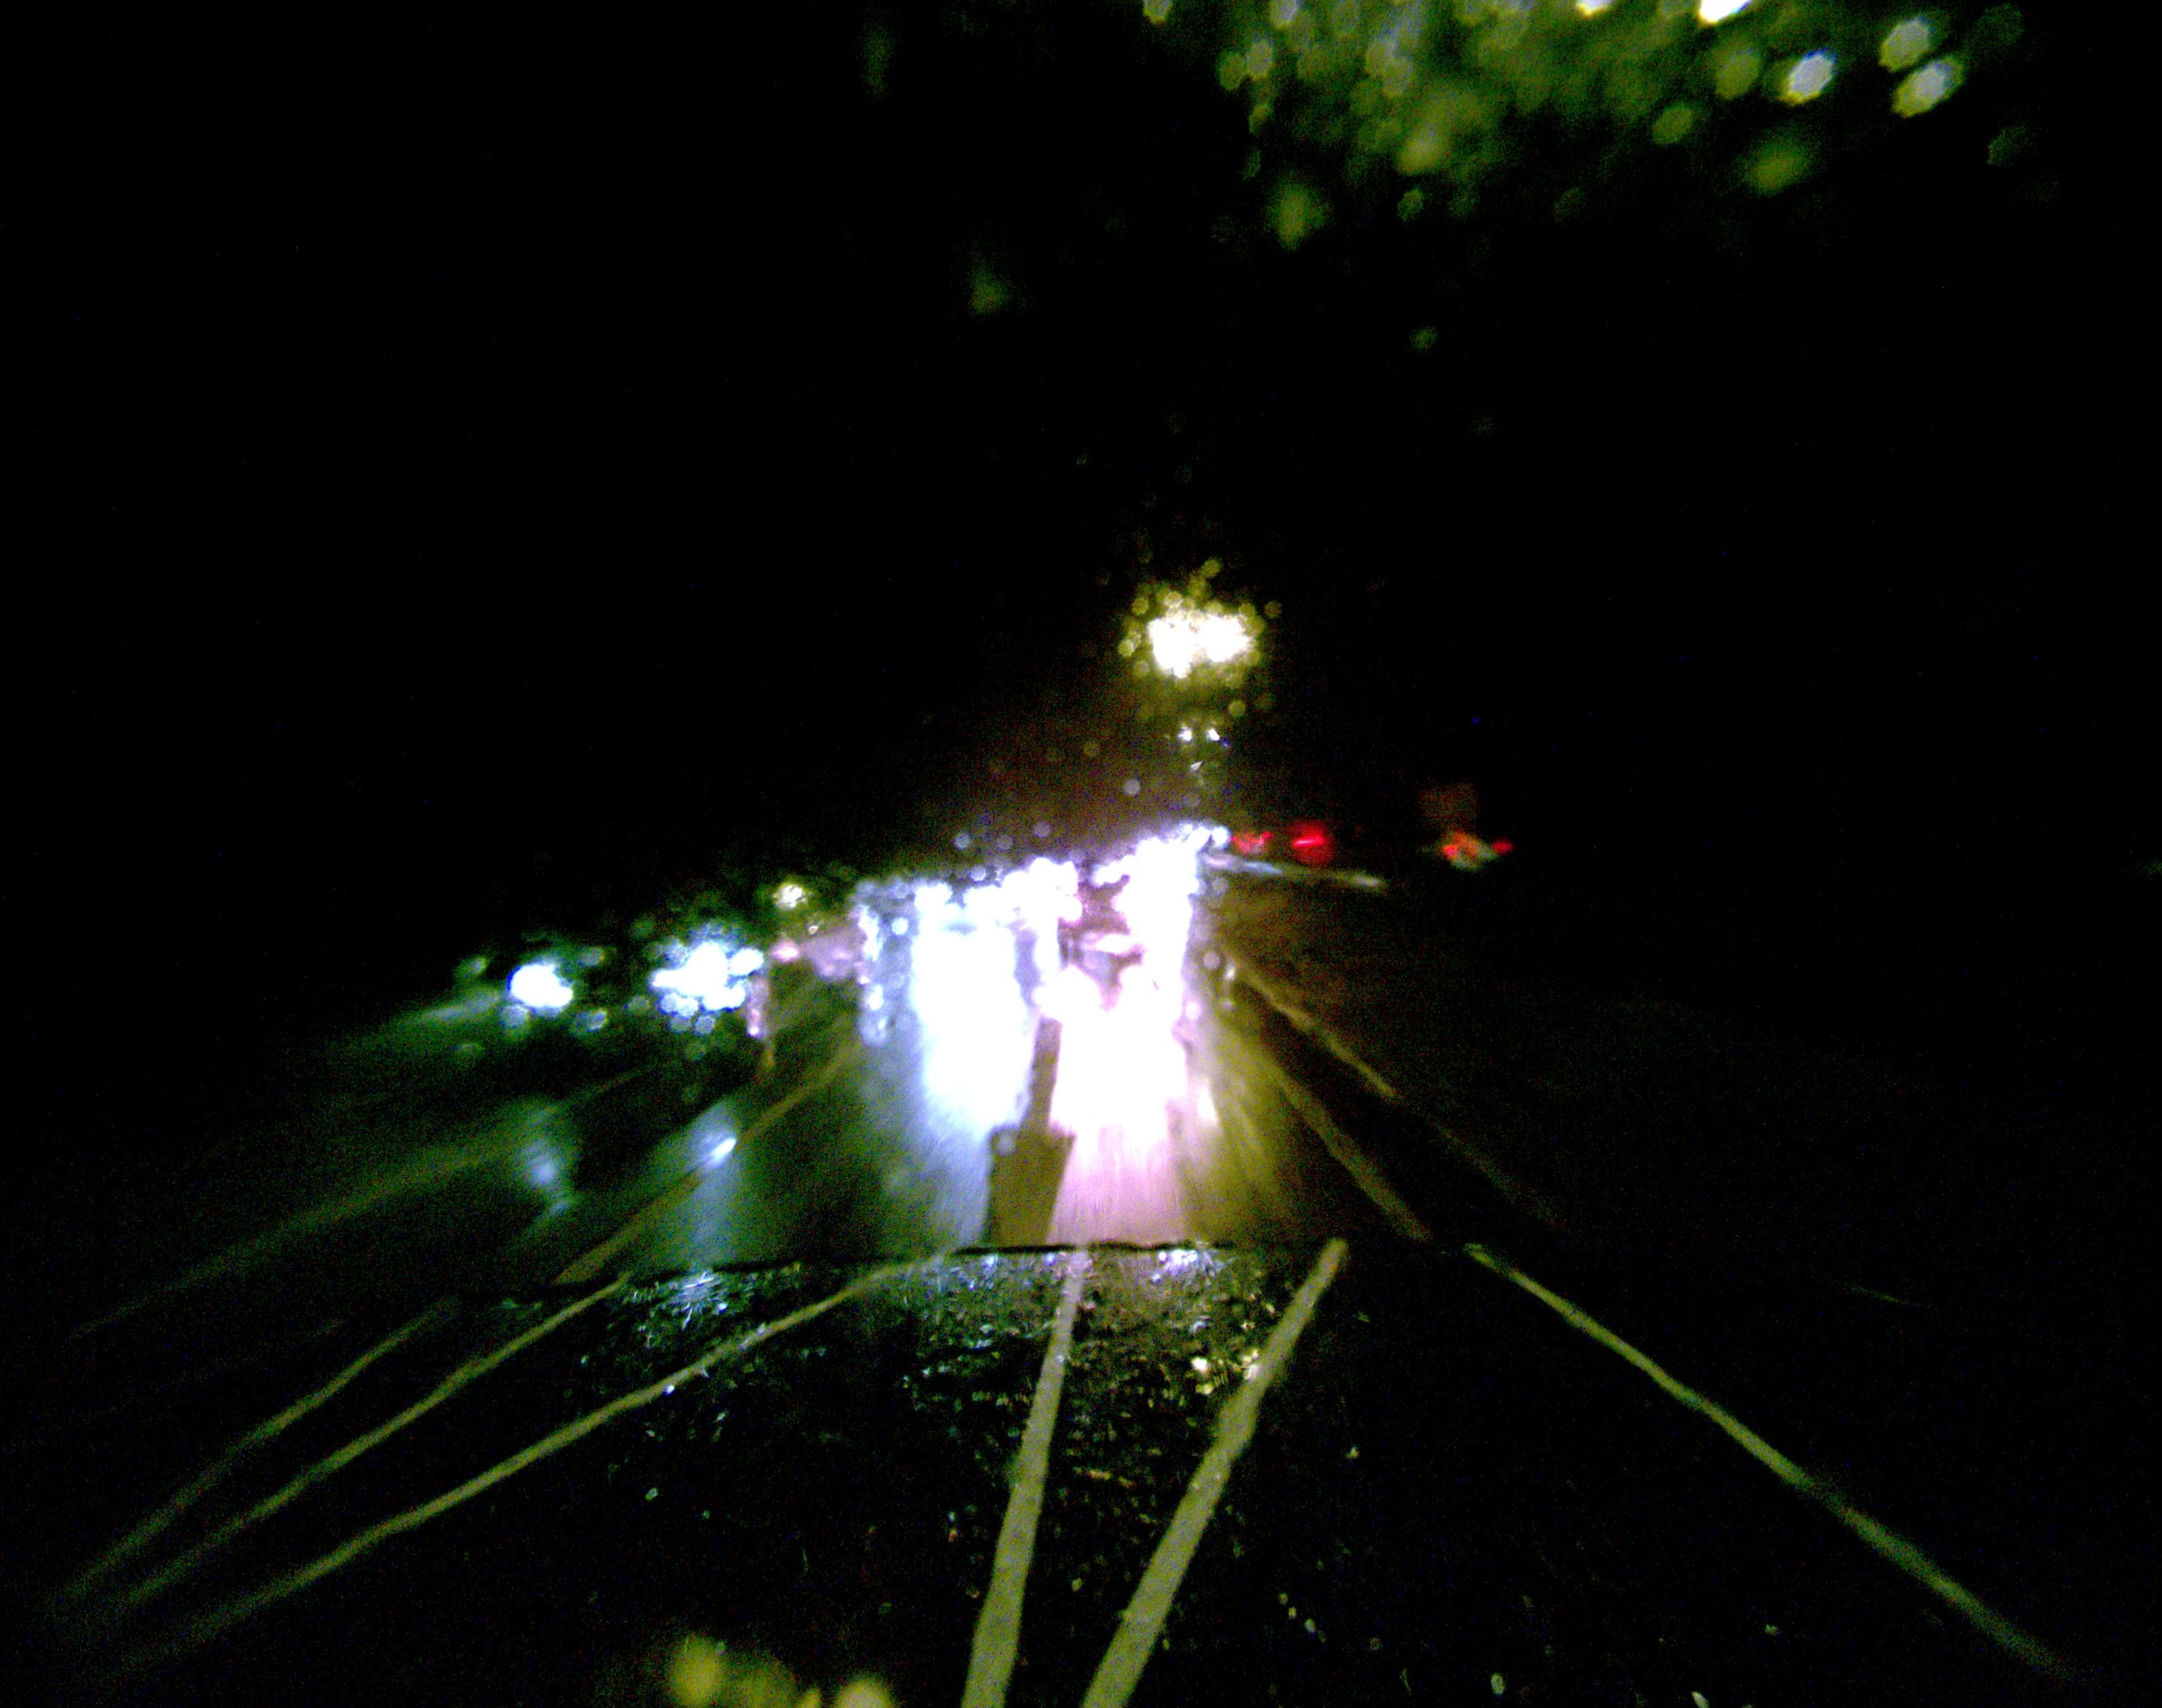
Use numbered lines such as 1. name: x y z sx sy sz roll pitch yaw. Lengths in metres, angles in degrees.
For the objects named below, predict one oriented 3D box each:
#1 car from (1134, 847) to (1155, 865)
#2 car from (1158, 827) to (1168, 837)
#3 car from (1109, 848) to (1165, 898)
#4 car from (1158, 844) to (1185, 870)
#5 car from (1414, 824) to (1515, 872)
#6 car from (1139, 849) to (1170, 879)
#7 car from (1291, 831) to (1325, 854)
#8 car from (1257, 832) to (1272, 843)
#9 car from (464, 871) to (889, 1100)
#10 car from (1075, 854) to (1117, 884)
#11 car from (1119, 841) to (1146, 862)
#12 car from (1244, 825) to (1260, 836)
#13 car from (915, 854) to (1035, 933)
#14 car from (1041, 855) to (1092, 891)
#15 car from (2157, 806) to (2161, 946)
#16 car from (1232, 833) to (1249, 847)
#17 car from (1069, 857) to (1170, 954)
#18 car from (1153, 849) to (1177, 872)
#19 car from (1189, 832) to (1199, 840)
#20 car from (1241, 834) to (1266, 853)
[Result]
1. car: 6.927 0.188 82.907 1.997 1.790 4.001 -4 1 8
2. car: 18.328 -4.920 170.408 1.997 2.002 4.001 -4 1 7
3. car: 2.035 0.619 26.876 1.605 1.417 3.390 -6 1 8
4. car: 7.966 0.210 67.061 1.998 2.002 4.000 -5 1 4
5. car: 13.141 -0.214 26.309 1.738 1.487 3.941 -2 1 4
6. car: 4.331 0.582 44.361 1.605 1.417 3.390 -6 1 7
7. car: 16.870 -0.869 56.654 1.778 1.584 4.562 -3 1 10
8. car: 26.823 -2.423 111.141 1.714 1.415 4.670 -2 1 10
9. car: -3.640 1.050 8.007 1.676 1.497 4.561 -5 0 4
10. car: 0.986 0.904 46.677 1.997 1.589 4.394 -4 0 8
11. car: 4.577 -0.272 66.859 1.997 1.589 4.393 -3 1 8
12. car: 30.730 -4.223 136.563 1.875 1.849 4.000 -5 1 3
13. car: -2.552 0.900 19.439 1.710 1.513 4.415 -5 1 9
14. car: -0.660 0.896 37.954 1.742 1.409 4.141 -5 1 9
15. car: 12.229 0.187 5.662 1.795 1.448 4.575 -2 0 -4
16. car: 21.557 -1.901 102.794 1.769 1.622 4.250 -4 3 7
17. car: 0.742 0.823 13.671 1.496 1.416 3.390 -4 0 5
18. car: 6.356 0.491 57.756 1.605 1.417 3.390 -6 1 7
19. car: 27.071 -4.229 182.288 1.997 1.669 4.002 -5 1 11
20. car: 15.610 -0.928 68.767 1.852 1.562 3.509 -4 0 8
